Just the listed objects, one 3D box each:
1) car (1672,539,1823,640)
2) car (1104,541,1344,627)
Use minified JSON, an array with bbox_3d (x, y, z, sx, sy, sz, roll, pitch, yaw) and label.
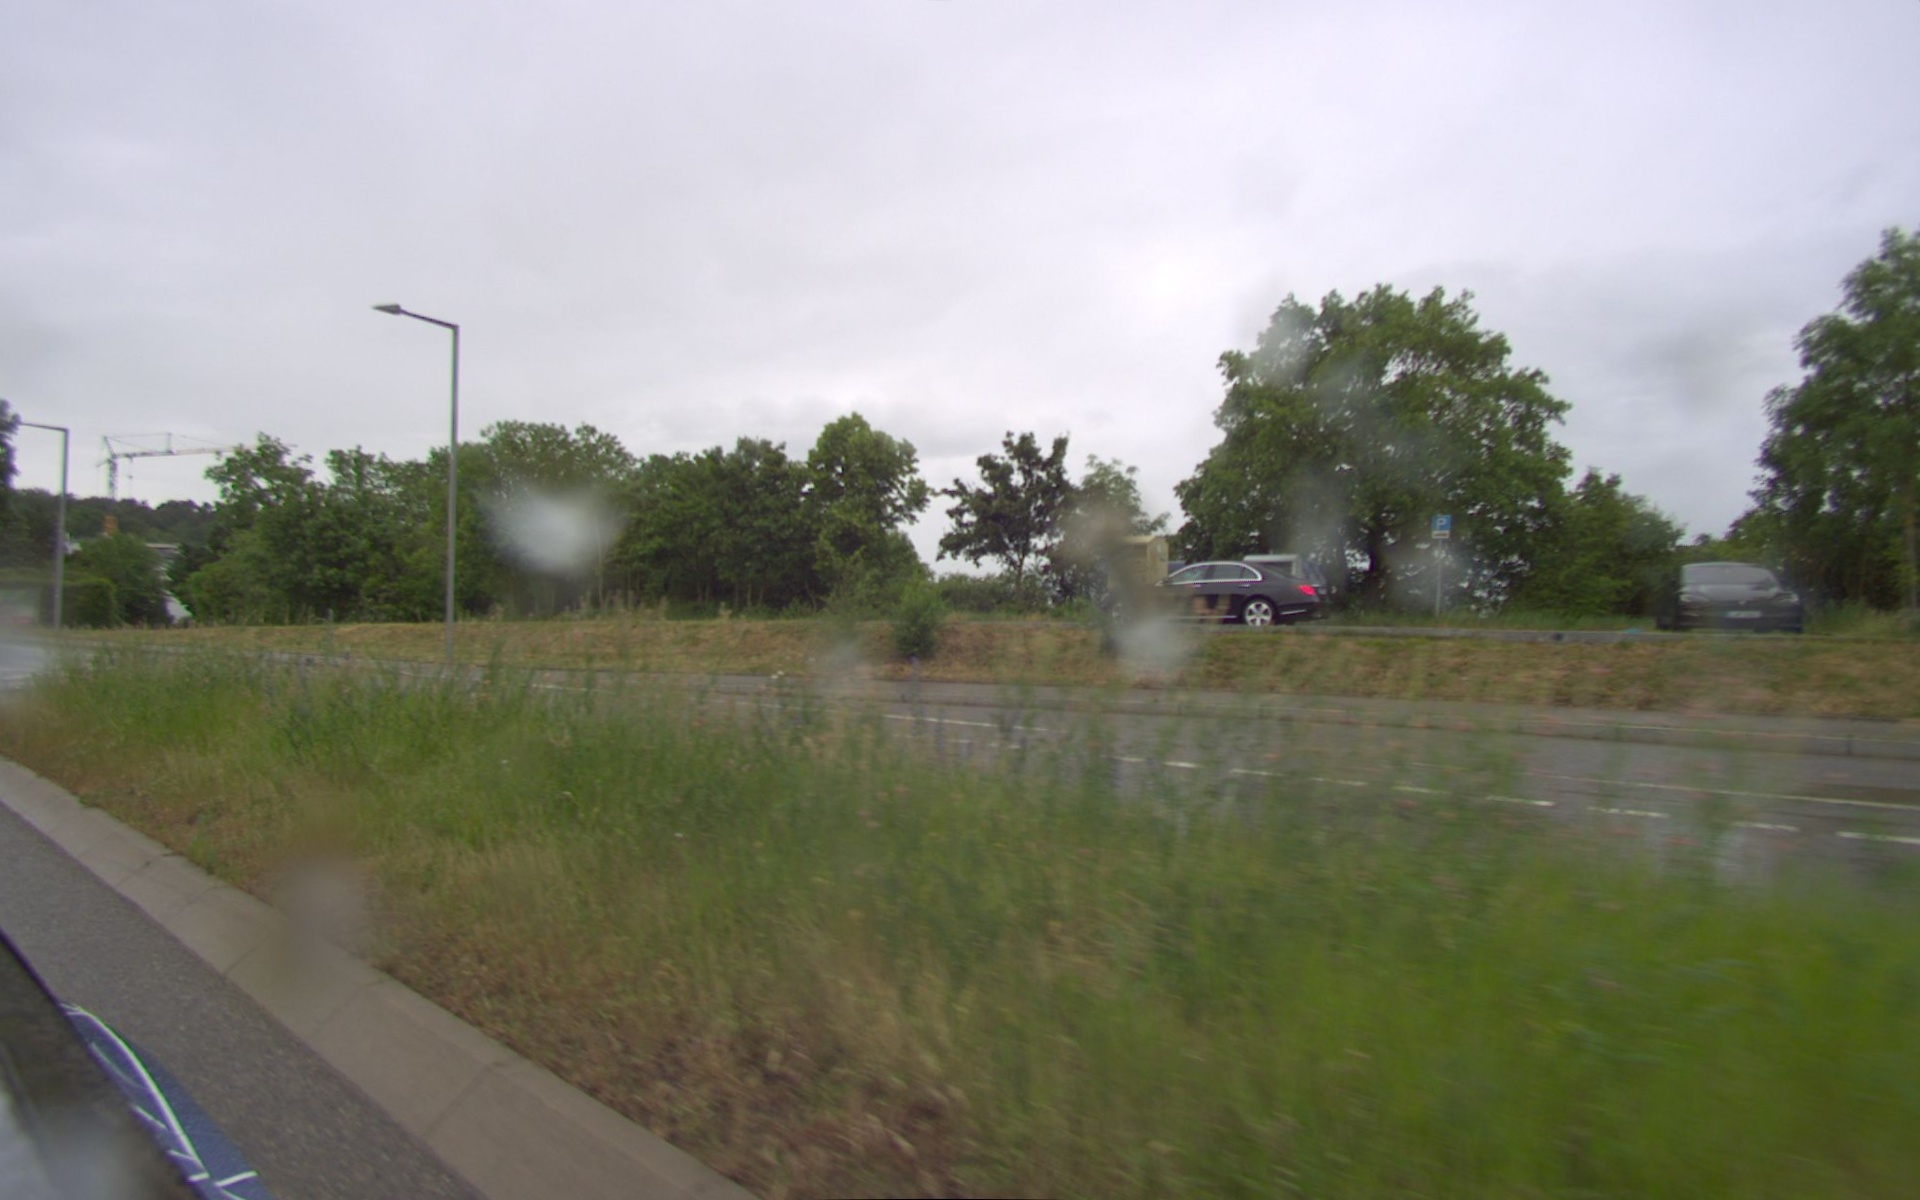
[{"bbox_3d":[15.067,-0.112,19.597,2.000,1.706,4.666,-1,-2,34],"label":"car"},{"bbox_3d":[5.458,-0.295,21.193,4.530,1.580,1.677,-2,0,34],"label":"car"}]
